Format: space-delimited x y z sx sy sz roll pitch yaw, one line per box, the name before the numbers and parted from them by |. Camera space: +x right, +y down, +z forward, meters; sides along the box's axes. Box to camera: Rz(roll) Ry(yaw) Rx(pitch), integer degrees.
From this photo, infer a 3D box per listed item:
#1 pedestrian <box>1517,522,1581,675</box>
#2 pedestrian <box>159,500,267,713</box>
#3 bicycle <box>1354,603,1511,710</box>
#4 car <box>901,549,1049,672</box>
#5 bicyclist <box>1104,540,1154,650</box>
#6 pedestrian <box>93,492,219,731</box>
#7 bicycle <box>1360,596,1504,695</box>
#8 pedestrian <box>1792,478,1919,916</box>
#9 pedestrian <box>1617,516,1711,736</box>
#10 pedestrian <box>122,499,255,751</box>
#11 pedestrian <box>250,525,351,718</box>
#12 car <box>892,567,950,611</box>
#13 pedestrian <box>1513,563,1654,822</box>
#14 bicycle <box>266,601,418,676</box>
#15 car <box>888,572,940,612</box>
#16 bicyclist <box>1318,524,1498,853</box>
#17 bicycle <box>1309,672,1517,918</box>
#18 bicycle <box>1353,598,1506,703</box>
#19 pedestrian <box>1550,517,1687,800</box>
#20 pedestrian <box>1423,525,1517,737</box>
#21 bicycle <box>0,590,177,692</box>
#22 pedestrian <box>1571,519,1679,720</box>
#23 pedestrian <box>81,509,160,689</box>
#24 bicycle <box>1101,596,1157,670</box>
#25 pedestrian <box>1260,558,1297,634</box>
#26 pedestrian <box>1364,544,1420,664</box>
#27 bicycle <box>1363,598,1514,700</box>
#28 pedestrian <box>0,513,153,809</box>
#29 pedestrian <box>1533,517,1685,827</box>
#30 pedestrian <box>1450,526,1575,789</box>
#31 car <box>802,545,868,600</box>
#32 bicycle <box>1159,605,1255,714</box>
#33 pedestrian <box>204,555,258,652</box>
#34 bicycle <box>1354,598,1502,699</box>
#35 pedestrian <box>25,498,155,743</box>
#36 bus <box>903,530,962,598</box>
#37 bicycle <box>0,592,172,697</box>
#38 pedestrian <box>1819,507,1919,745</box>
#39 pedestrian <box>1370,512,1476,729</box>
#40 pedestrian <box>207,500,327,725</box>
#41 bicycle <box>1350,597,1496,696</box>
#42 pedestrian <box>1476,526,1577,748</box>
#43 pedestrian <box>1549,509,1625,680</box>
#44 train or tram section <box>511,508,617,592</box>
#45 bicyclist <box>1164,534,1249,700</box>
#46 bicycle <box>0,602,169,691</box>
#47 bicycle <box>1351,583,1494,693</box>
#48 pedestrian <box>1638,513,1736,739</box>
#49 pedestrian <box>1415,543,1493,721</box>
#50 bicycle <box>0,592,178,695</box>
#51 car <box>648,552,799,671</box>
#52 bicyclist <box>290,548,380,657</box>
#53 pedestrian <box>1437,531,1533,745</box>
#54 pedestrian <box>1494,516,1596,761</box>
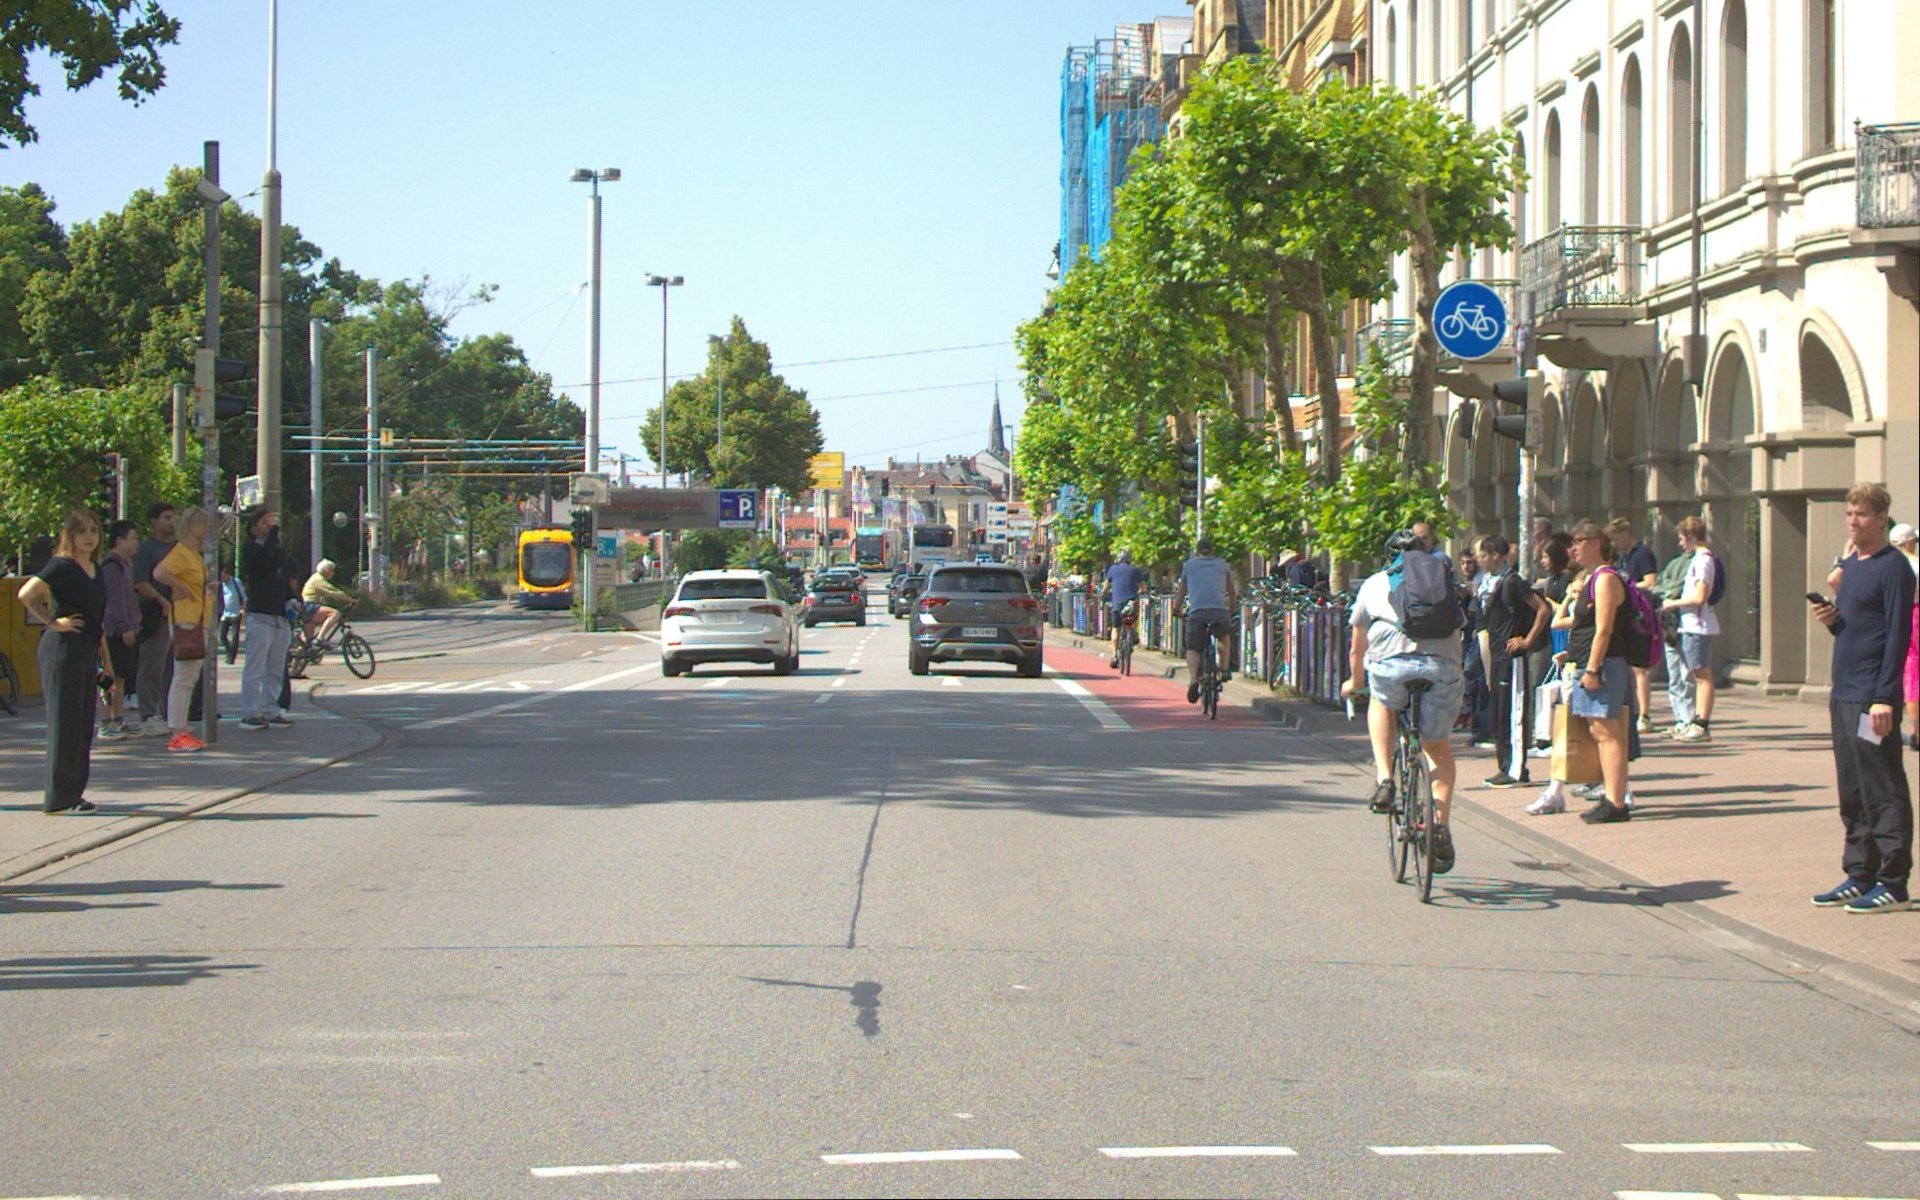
pedestrian | 6.949 -0.015 40.554 0.628 1.785 0.612 0 0 0
pedestrian | -6.486 0.053 29.873 0.618 1.817 0.662 1 0 29
bicycle | 4.484 0.532 32.657 1.420 0.976 0.445 -1 1 0
car | 0.166 0.110 47.344 1.845 1.554 4.001 -1 1 -2
bicyclist | 2.403 -0.079 49.047 0.647 1.545 0.817 1 1 -1
pedestrian | -6.338 0.084 27.113 0.633 1.852 0.730 1 0 29
bicycle | 4.846 0.462 35.324 1.420 0.976 0.401 -1 1 0
pedestrian | 4.019 0.419 15.206 0.523 1.891 0.641 -1 0 3
pedestrian | 5.823 0.212 28.467 0.610 1.800 0.678 0 0 -2
pedestrian | -5.571 0.175 24.842 0.633 1.788 0.730 1 0 20
pedestrian | -5.756 0.183 30.020 0.618 1.662 0.591 1 0 29
car | -1.319 -0.367 114.734 1.845 1.409 4.000 1 1 -1
pedestrian | 3.785 0.551 20.902 0.610 1.510 0.678 -4 0 -2
bicycle | -8.604 0.534 47.866 1.961 1.022 0.679 0 1 -27
car | -1.702 -0.297 126.529 1.845 1.409 4.000 1 1 -1
bicyclist | 2.092 0.388 16.162 0.630 1.476 1.198 1 1 -1
bicycle | 2.086 0.876 16.065 0.630 0.976 2.089 1 1 -1
bicycle | 4.571 0.488 33.479 1.420 0.976 0.445 -1 1 0
pedestrian | 4.225 0.367 22.085 0.610 1.753 0.678 -4 0 -2
pedestrian | 4.186 0.249 28.219 0.582 1.694 0.605 -3 0 -2
bicycle | -9.627 0.441 37.543 2.081 1.086 0.685 0 0 -12
pedestrian | 5.730 0.158 29.628 0.610 1.699 0.678 -1 1 -28
pedestrian | -8.131 -0.009 33.325 0.610 1.719 0.678 1 0 -2
bicycle | 2.394 0.454 48.875 0.647 0.994 2.031 1 1 -1
pedestrian | 6.563 -0.085 70.814 0.675 1.567 0.612 0 0 -2
pedestrian | 6.069 0.053 48.353 0.675 1.659 0.612 0 0 -2
bicycle | 4.718 0.480 33.941 1.420 0.976 0.445 -1 1 0
pedestrian | -4.909 0.324 18.899 0.633 1.590 0.686 1 0 20
pedestrian | 3.805 0.415 20.199 0.671 1.763 0.678 -2 0 -2
pedestrian | 3.767 0.386 23.465 0.610 1.733 0.678 -4 0 -2
car | -3.602 -0.818 99.630 1.845 1.554 4.000 1 1 -1
bicycle | 2.453 0.574 34.310 0.774 1.002 2.329 0 1 0
pedestrian | -12.311 0.065 58.079 0.771 1.623 0.612 1 0 -1
bicycle | 4.678 0.485 34.396 1.420 0.976 0.445 -1 1 0
pedestrian | -6.692 0.154 26.454 0.633 1.852 0.730 1 0 29
bus | -1.548 -1.952 187.648 2.994 3.582 11.745 1 0 -1
bicycle | -9.376 0.465 36.217 2.081 1.086 0.685 0 0 -12
pedestrian | 7.083 0.198 26.705 0.610 1.817 0.678 1 0 -2
pedestrian | 4.128 0.182 30.641 0.688 1.891 0.611 -3 0 26
pedestrian | -5.724 0.094 28.404 0.633 1.828 0.730 1 0 29
bicycle | 4.694 0.469 34.889 1.420 0.976 0.445 -1 1 0
pedestrian | 4.384 0.281 26.614 0.582 1.668 0.605 -3 0 -2
pedestrian | 6.611 -0.061 36.275 0.675 1.785 0.612 0 0 0
train or tram section | -16.404 -2.091 143.187 2.613 3.337 11.001 1 1 3
bicyclist | 2.450 0.158 34.285 0.774 1.629 0.851 0 1 0
bicycle | -9.943 0.515 38.546 2.081 0.976 0.685 0 0 -12
bicycle | 4.803 0.391 35.750 1.420 1.110 0.401 -1 1 0
pedestrian | 5.856 0.206 27.710 0.610 1.800 0.678 1 0 -2
pedestrian | 4.536 0.282 31.536 0.531 1.589 0.611 1 3 26
bicycle | -9.465 0.458 36.893 2.081 1.086 0.685 0 0 -12
car | -3.265 0.128 48.106 1.845 1.554 4.000 0 1 0
bicyclist | -8.696 0.028 47.811 1.048 1.497 0.741 0 1 -27
pedestrian | 4.202 0.297 27.545 0.582 1.668 0.605 -3 0 -2
pedestrian | 4.398 0.286 25.864 0.610 1.817 0.678 1 0 -2
